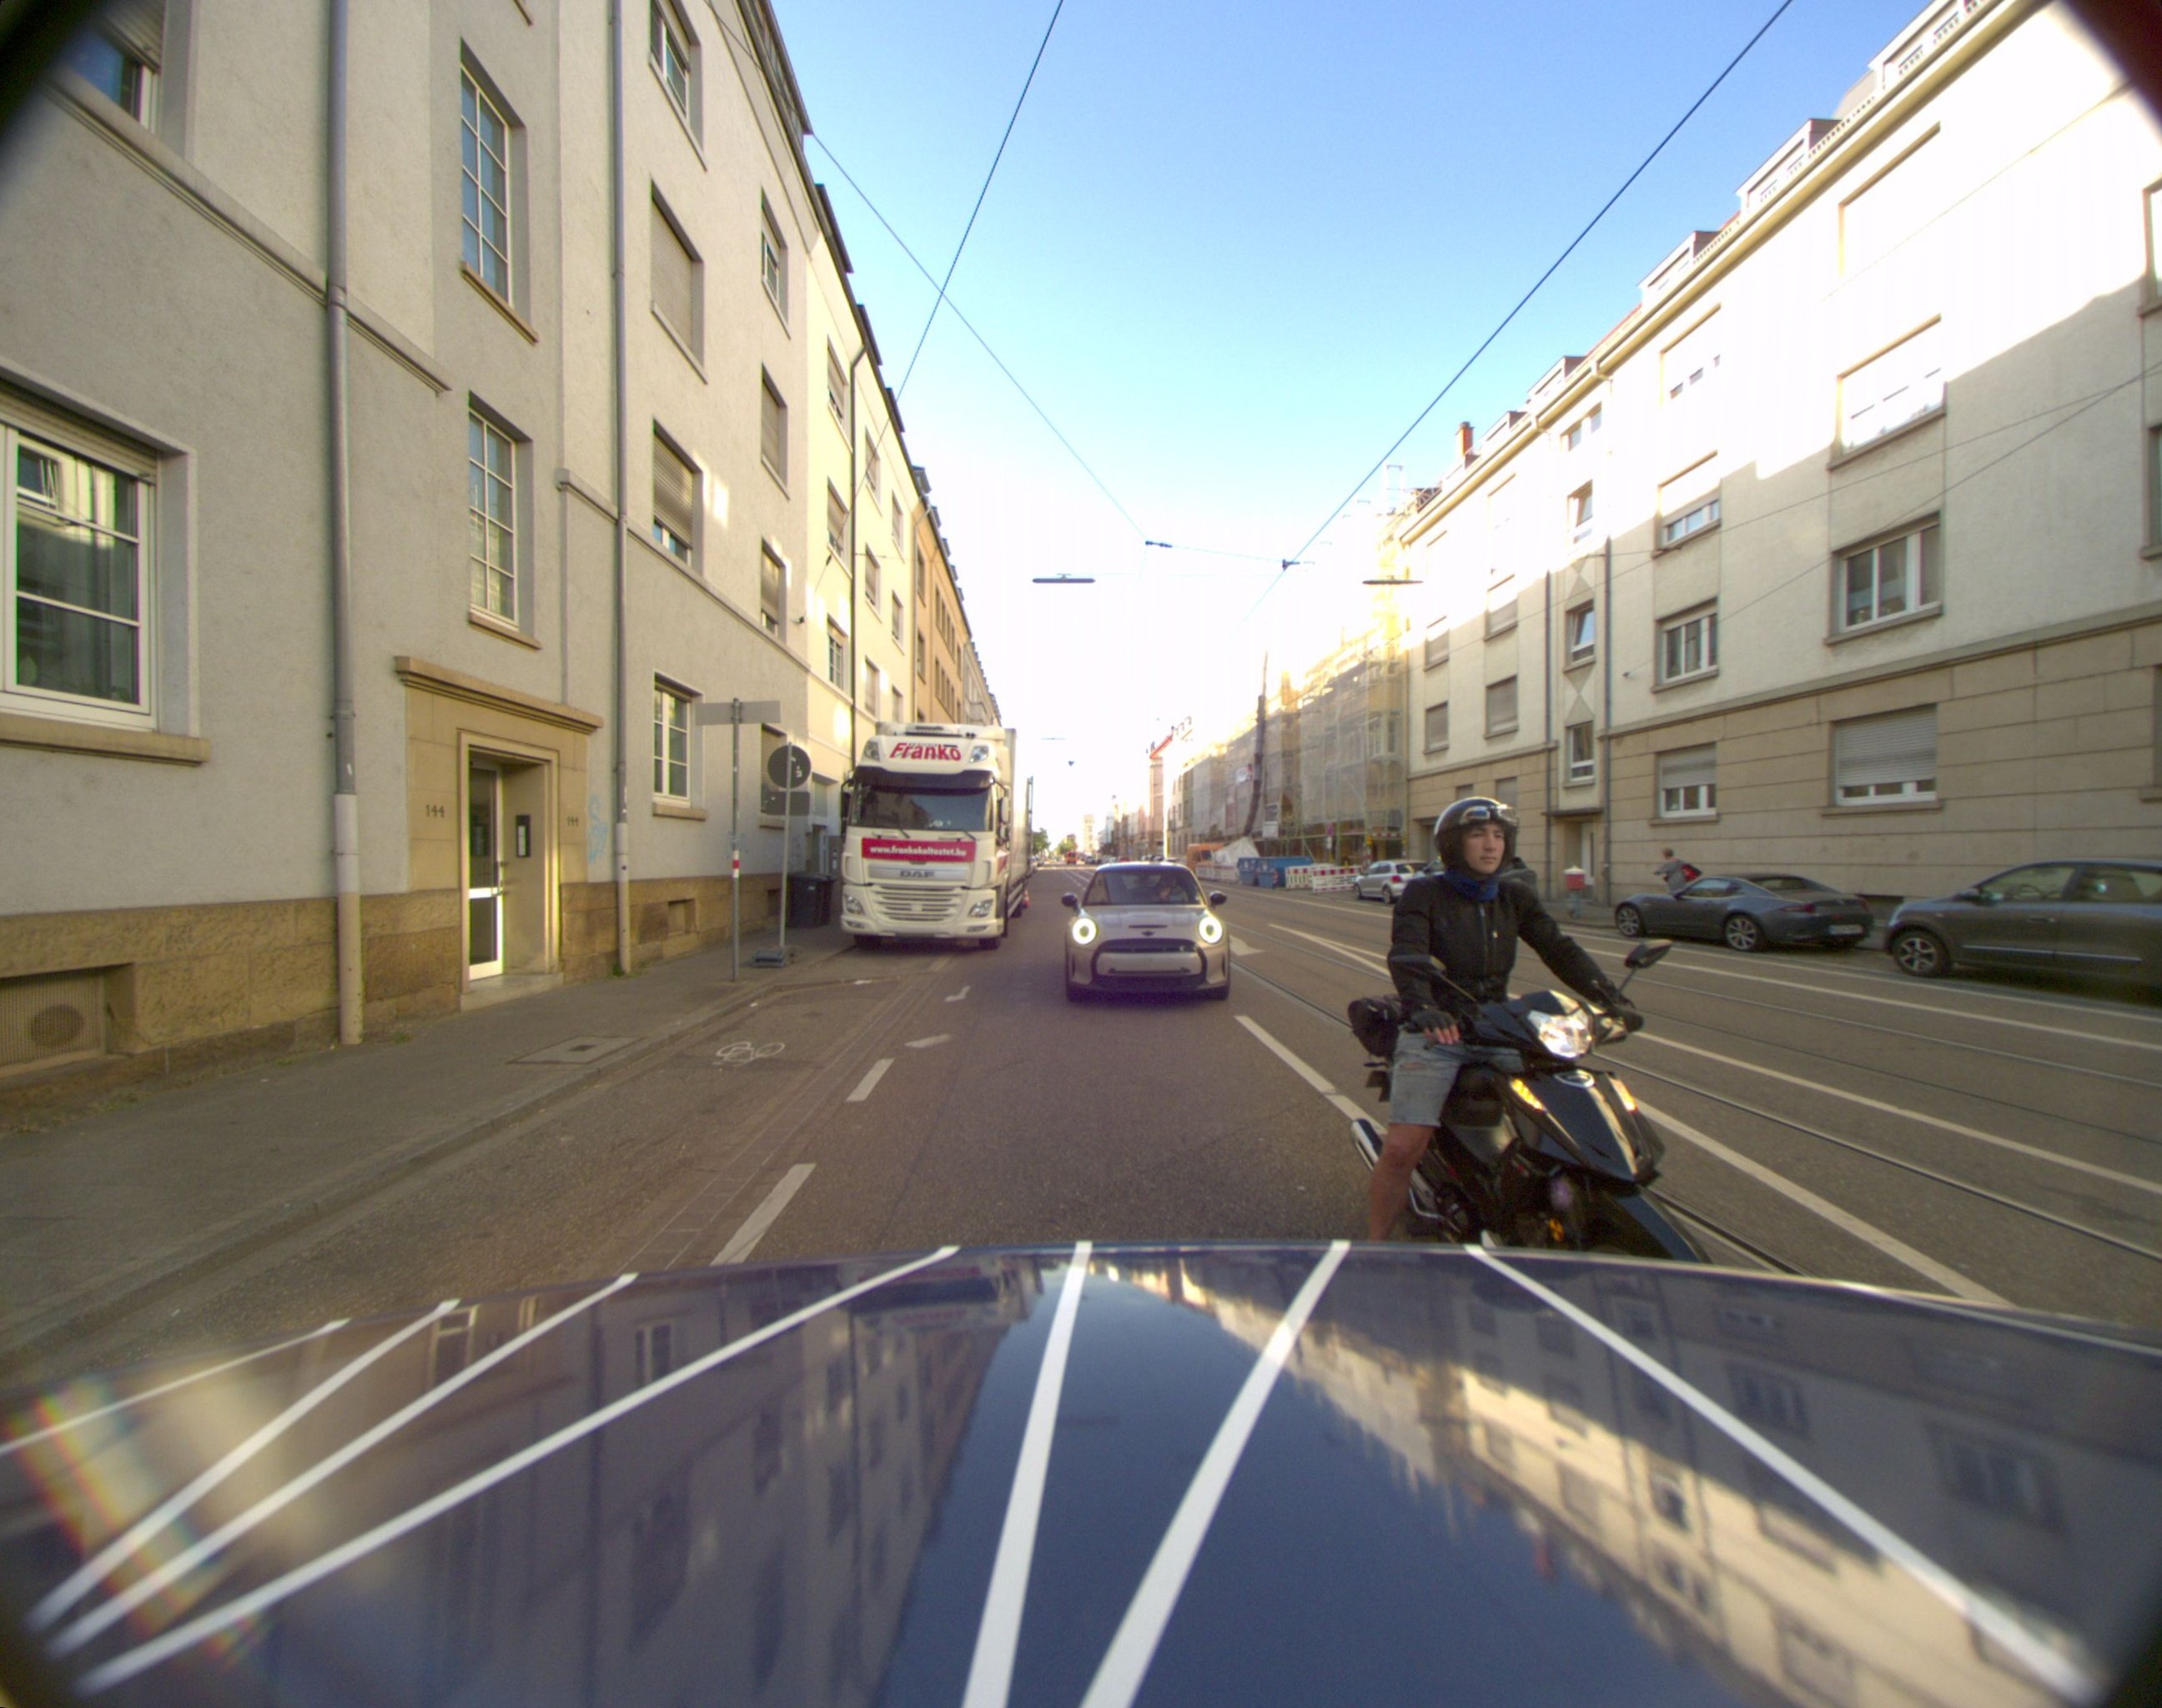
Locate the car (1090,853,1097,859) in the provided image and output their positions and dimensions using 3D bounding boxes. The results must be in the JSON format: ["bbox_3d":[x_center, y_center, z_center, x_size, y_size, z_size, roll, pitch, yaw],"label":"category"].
[{"bbox_3d":[3.314,0.564,206.889,1.684,1.478,3.965,-2,0,-1],"label":"car"}]

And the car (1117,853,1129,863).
[{"bbox_3d":[6.600,0.607,118.634,1.684,1.478,3.966,-2,0,1],"label":"car"}]

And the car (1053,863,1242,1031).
[{"bbox_3d":[0.552,0.891,9.153,1.685,1.454,4.148,-2,0,-3],"label":"car"}]

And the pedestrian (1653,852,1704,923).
[{"bbox_3d":[13.072,0.721,16.643,0.570,1.532,0.693,0,1,-2],"label":"pedestrian"}]

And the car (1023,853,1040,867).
[{"bbox_3d":[-5.350,0.638,82.743,1.685,1.522,4.148,-2,0,-3],"label":"car"}]

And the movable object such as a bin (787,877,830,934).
[{"bbox_3d":[-5.384,1.003,15.039,0.666,1.087,0.570,0,1,-2],"label":"movable object such as a bin"}]

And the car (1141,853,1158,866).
[{"bbox_3d":[7.934,0.641,87.879,1.684,1.478,3.966,-2,0,1],"label":"car"}]

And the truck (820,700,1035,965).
[{"bbox_3d":[-2.627,-0.325,17.180,2.782,3.903,11.816,0,0,-2],"label":"truck"}]

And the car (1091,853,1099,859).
[{"bbox_3d":[3.539,0.585,191.745,1.684,1.478,3.965,-2,0,-1],"label":"car"}]

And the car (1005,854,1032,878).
[{"bbox_3d":[-4.303,0.821,52.989,1.685,1.522,4.148,-2,0,-3],"label":"car"}]

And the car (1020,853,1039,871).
[{"bbox_3d":[-4.856,0.738,72.097,1.685,1.522,4.148,-2,0,-3],"label":"car"}]

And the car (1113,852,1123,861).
[{"bbox_3d":[6.533,0.448,134.400,1.684,1.478,3.966,-2,0,1],"label":"car"}]

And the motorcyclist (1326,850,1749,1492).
[{"bbox_3d":[1.307,0.814,2.390,0.791,1.645,0.900,0,1,1],"label":"motorcyclist"}]

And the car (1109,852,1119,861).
[{"bbox_3d":[5.960,0.426,139.343,1.684,1.478,3.966,-2,0,1],"label":"car"}]

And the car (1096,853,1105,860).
[{"bbox_3d":[4.261,0.596,167.811,1.684,1.478,3.965,-2,0,-1],"label":"car"}]

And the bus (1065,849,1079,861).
[{"bbox_3d":[-2.593,0.289,211.299,2.755,3.095,19.156,0,0,-3],"label":"bus"}]

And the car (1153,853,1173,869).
[{"bbox_3d":[8.267,0.694,76.809,1.684,1.478,3.966,-2,0,1],"label":"car"}]

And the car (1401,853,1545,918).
[{"bbox_3d":[10.810,0.799,21.330,1.696,1.590,4.206,-1,0,-3],"label":"car"}]

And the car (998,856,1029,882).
[{"bbox_3d":[-4.176,0.889,47.187,1.685,1.522,4.148,-2,0,-3],"label":"car"}]

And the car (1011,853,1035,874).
[{"bbox_3d":[-4.511,0.738,59.157,1.685,1.522,4.148,-2,0,-3],"label":"car"}]

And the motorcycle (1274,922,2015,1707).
[{"bbox_3d":[1.308,0.970,2.519,0.791,1.284,2.273,0,0,1],"label":"motorcycle"}]

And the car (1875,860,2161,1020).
[{"bbox_3d":[11.416,0.855,8.318,1.679,1.519,3.539,-1,0,-3],"label":"car"}]

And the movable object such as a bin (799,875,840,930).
[{"bbox_3d":[-5.401,0.995,15.708,0.666,1.087,0.570,0,1,-2],"label":"movable object such as a bin"}]

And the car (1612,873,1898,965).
[{"bbox_3d":[11.179,0.995,12.980,1.520,1.227,3.685,-1,0,-3],"label":"car"}]

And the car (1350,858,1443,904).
[{"bbox_3d":[10.609,0.875,25.778,1.543,1.404,3.510,-1,0,-3],"label":"car"}]

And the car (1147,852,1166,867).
[{"bbox_3d":[8.246,0.604,83.182,1.684,1.573,3.966,-2,0,1],"label":"car"}]

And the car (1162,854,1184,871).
[{"bbox_3d":[8.572,0.749,71.111,1.684,1.478,3.966,-2,0,1],"label":"car"}]
